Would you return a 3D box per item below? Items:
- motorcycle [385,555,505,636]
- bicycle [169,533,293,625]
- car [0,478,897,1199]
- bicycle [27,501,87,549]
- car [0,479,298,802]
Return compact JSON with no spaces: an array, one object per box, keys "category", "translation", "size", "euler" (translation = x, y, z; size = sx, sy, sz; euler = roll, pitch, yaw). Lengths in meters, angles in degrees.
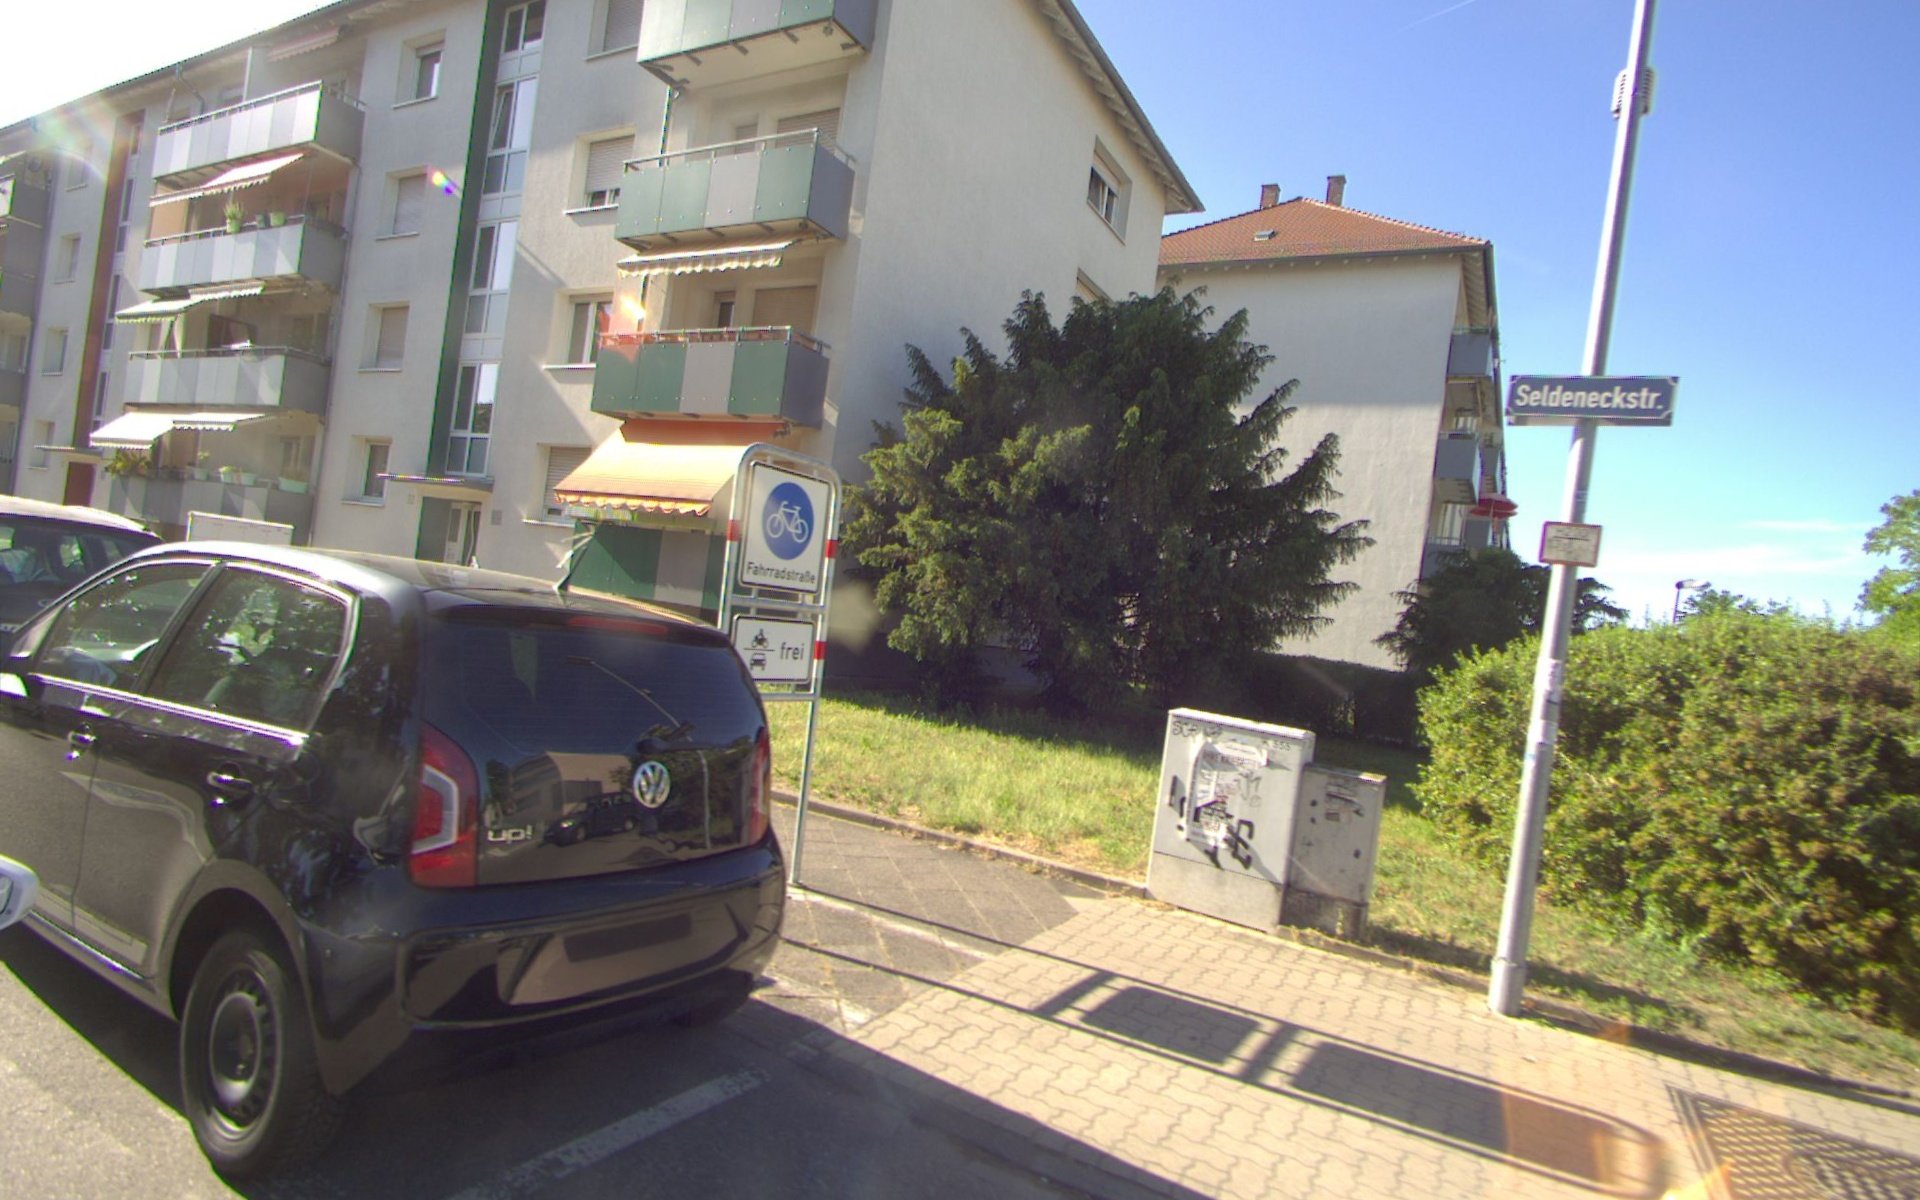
[{"category":"motorcycle","translation":[-9.013,-0.084,17.603],"size":[2.000,1.165,0.584],"euler":[7,0,21]},{"category":"bicycle","translation":[-10.588,-0.312,14.599],"size":[1.865,1.090,0.721],"euler":[7,-1,32]},{"category":"car","translation":[-2.314,0.499,3.646],"size":[3.729,1.490,1.663],"euler":[7,-2,31]},{"category":"bicycle","translation":[-23.821,-1.986,26.521],"size":[1.975,1.085,0.524],"euler":[7,2,30]},{"category":"car","translation":[-6.303,0.006,6.302],"size":[4.482,1.547,1.773],"euler":[7,-1,32]}]
